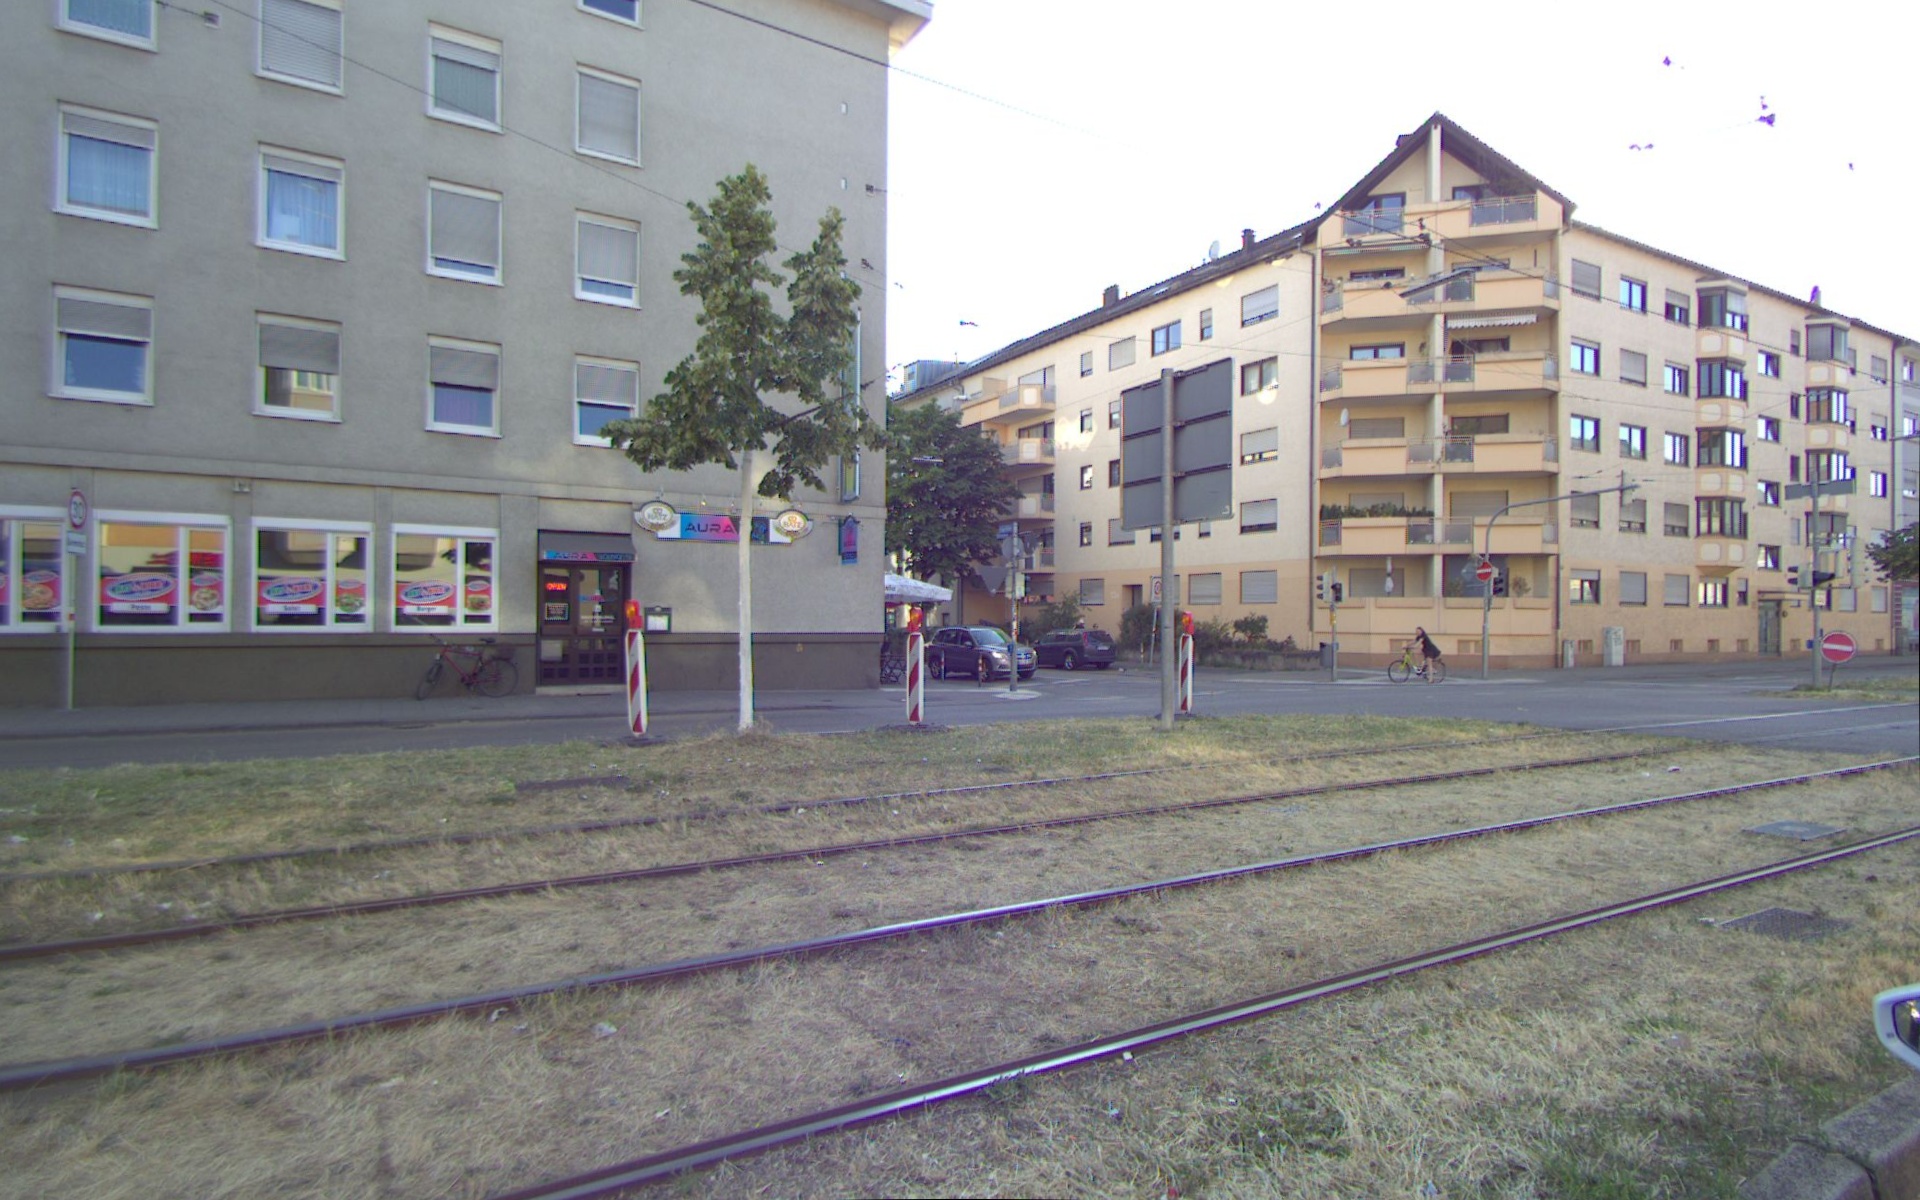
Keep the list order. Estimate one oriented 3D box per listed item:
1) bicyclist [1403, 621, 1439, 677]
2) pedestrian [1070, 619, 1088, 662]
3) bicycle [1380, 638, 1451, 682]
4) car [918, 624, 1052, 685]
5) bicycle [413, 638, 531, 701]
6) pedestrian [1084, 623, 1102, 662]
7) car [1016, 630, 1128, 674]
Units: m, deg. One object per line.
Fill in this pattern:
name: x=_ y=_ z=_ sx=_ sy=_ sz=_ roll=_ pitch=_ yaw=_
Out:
bicyclist: x=13.460 y=1.424 z=29.337 sx=0.793 sy=1.607 sz=0.628 roll=0 pitch=0 yaw=4
pedestrian: x=4.928 y=1.667 z=41.498 sx=0.456 sy=1.727 sz=0.589 roll=2 pitch=0 yaw=-24
bicycle: x=13.302 y=1.751 z=29.353 sx=1.833 sy=1.274 sz=0.457 roll=0 pitch=0 yaw=3
car: x=0.705 y=1.630 z=31.408 sx=1.982 sy=1.645 sz=4.153 roll=-3 pitch=1 yaw=-38
bicycle: x=-8.586 y=1.209 z=17.700 sx=1.823 sy=1.037 sz=0.605 roll=2 pitch=0 yaw=-31
pedestrian: x=5.519 y=1.749 z=41.705 sx=0.509 sy=1.573 sz=0.547 roll=1 pitch=0 yaw=-24
car: x=4.141 y=1.909 z=37.618 sx=1.982 sy=1.462 sz=3.957 roll=-1 pitch=-1 yaw=-38
